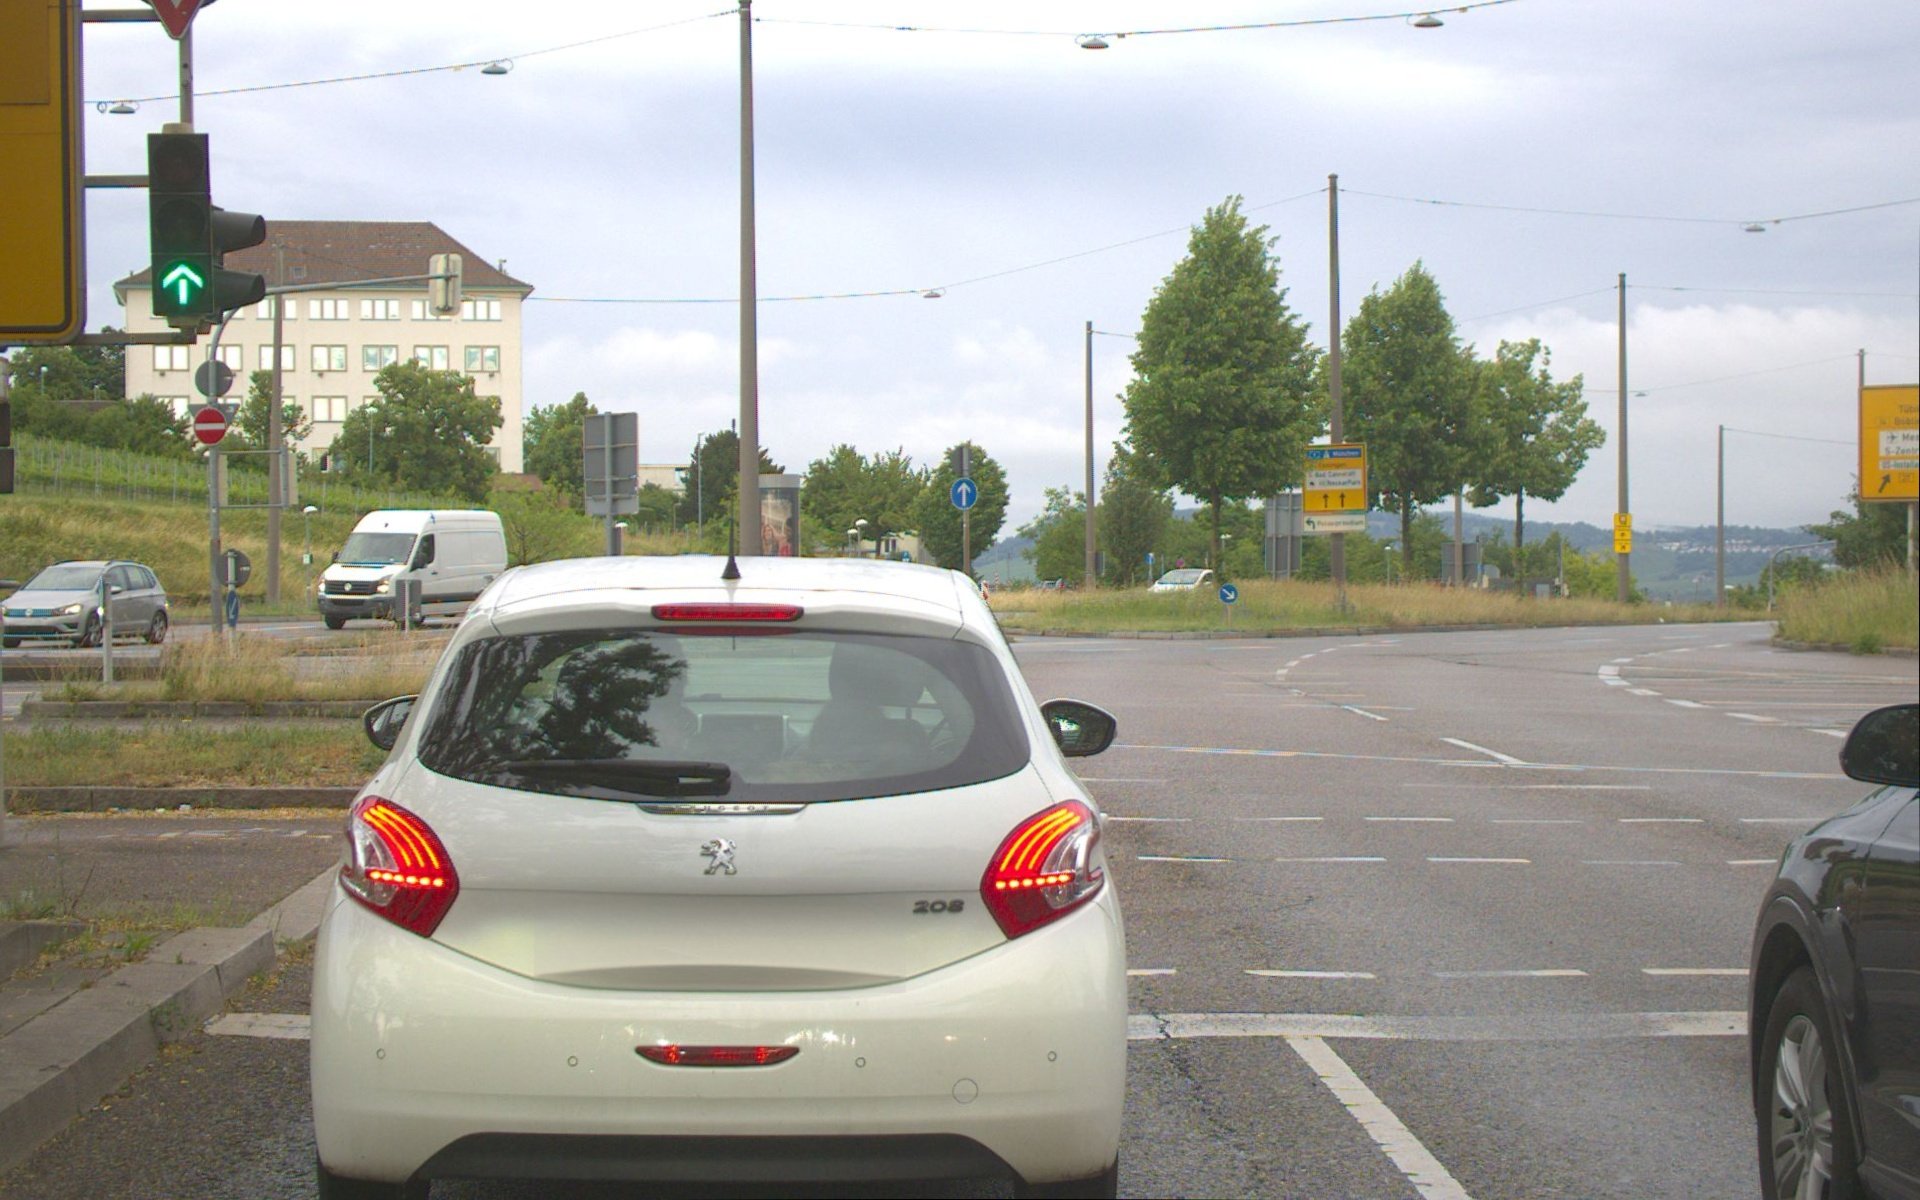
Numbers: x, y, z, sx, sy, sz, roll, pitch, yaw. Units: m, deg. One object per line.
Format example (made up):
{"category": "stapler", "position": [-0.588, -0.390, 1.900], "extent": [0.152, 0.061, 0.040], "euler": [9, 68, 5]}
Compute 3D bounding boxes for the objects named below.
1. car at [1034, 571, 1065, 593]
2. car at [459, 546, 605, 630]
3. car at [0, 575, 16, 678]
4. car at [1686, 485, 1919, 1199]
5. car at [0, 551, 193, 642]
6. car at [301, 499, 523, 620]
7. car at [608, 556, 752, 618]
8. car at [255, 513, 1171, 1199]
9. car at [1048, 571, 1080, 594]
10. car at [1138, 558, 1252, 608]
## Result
{"category": "car", "position": [6.367, -1.289, 244.670], "extent": [1.841, 1.481, 4.001], "euler": [0, 1, -3]}
{"category": "car", "position": [-7.627, -0.216, 61.616], "extent": [1.776, 1.420, 4.373], "euler": [-1, 0, 4]}
{"category": "car", "position": [-14.882, 0.378, 47.903], "extent": [1.901, 1.484, 4.892], "euler": [1, 0, 2]}
{"category": "car", "position": [2.583, 0.628, 5.411], "extent": [1.884, 1.590, 4.114], "euler": [2, 0, -1]}
{"category": "car", "position": [-16.069, -0.070, 62.824], "extent": [1.996, 1.570, 4.191], "euler": [2, 0, 21]}
{"category": "car", "position": [-12.218, -0.869, 77.136], "extent": [1.996, 2.550, 6.163], "euler": [2, 0, 22]}
{"category": "car", "position": [-7.282, -0.327, 89.727], "extent": [1.996, 1.507, 4.227], "euler": [2, 0, 23]}
{"category": "car", "position": [-0.521, 0.571, 8.503], "extent": [1.717, 1.484, 4.000], "euler": [1, 0, -2]}
{"category": "car", "position": [7.134, -1.216, 236.292], "extent": [1.841, 1.481, 4.001], "euler": [0, 1, -3]}
{"category": "car", "position": [7.594, -0.532, 110.857], "extent": [1.754, 1.507, 3.991], "euler": [2, 0, 37]}
